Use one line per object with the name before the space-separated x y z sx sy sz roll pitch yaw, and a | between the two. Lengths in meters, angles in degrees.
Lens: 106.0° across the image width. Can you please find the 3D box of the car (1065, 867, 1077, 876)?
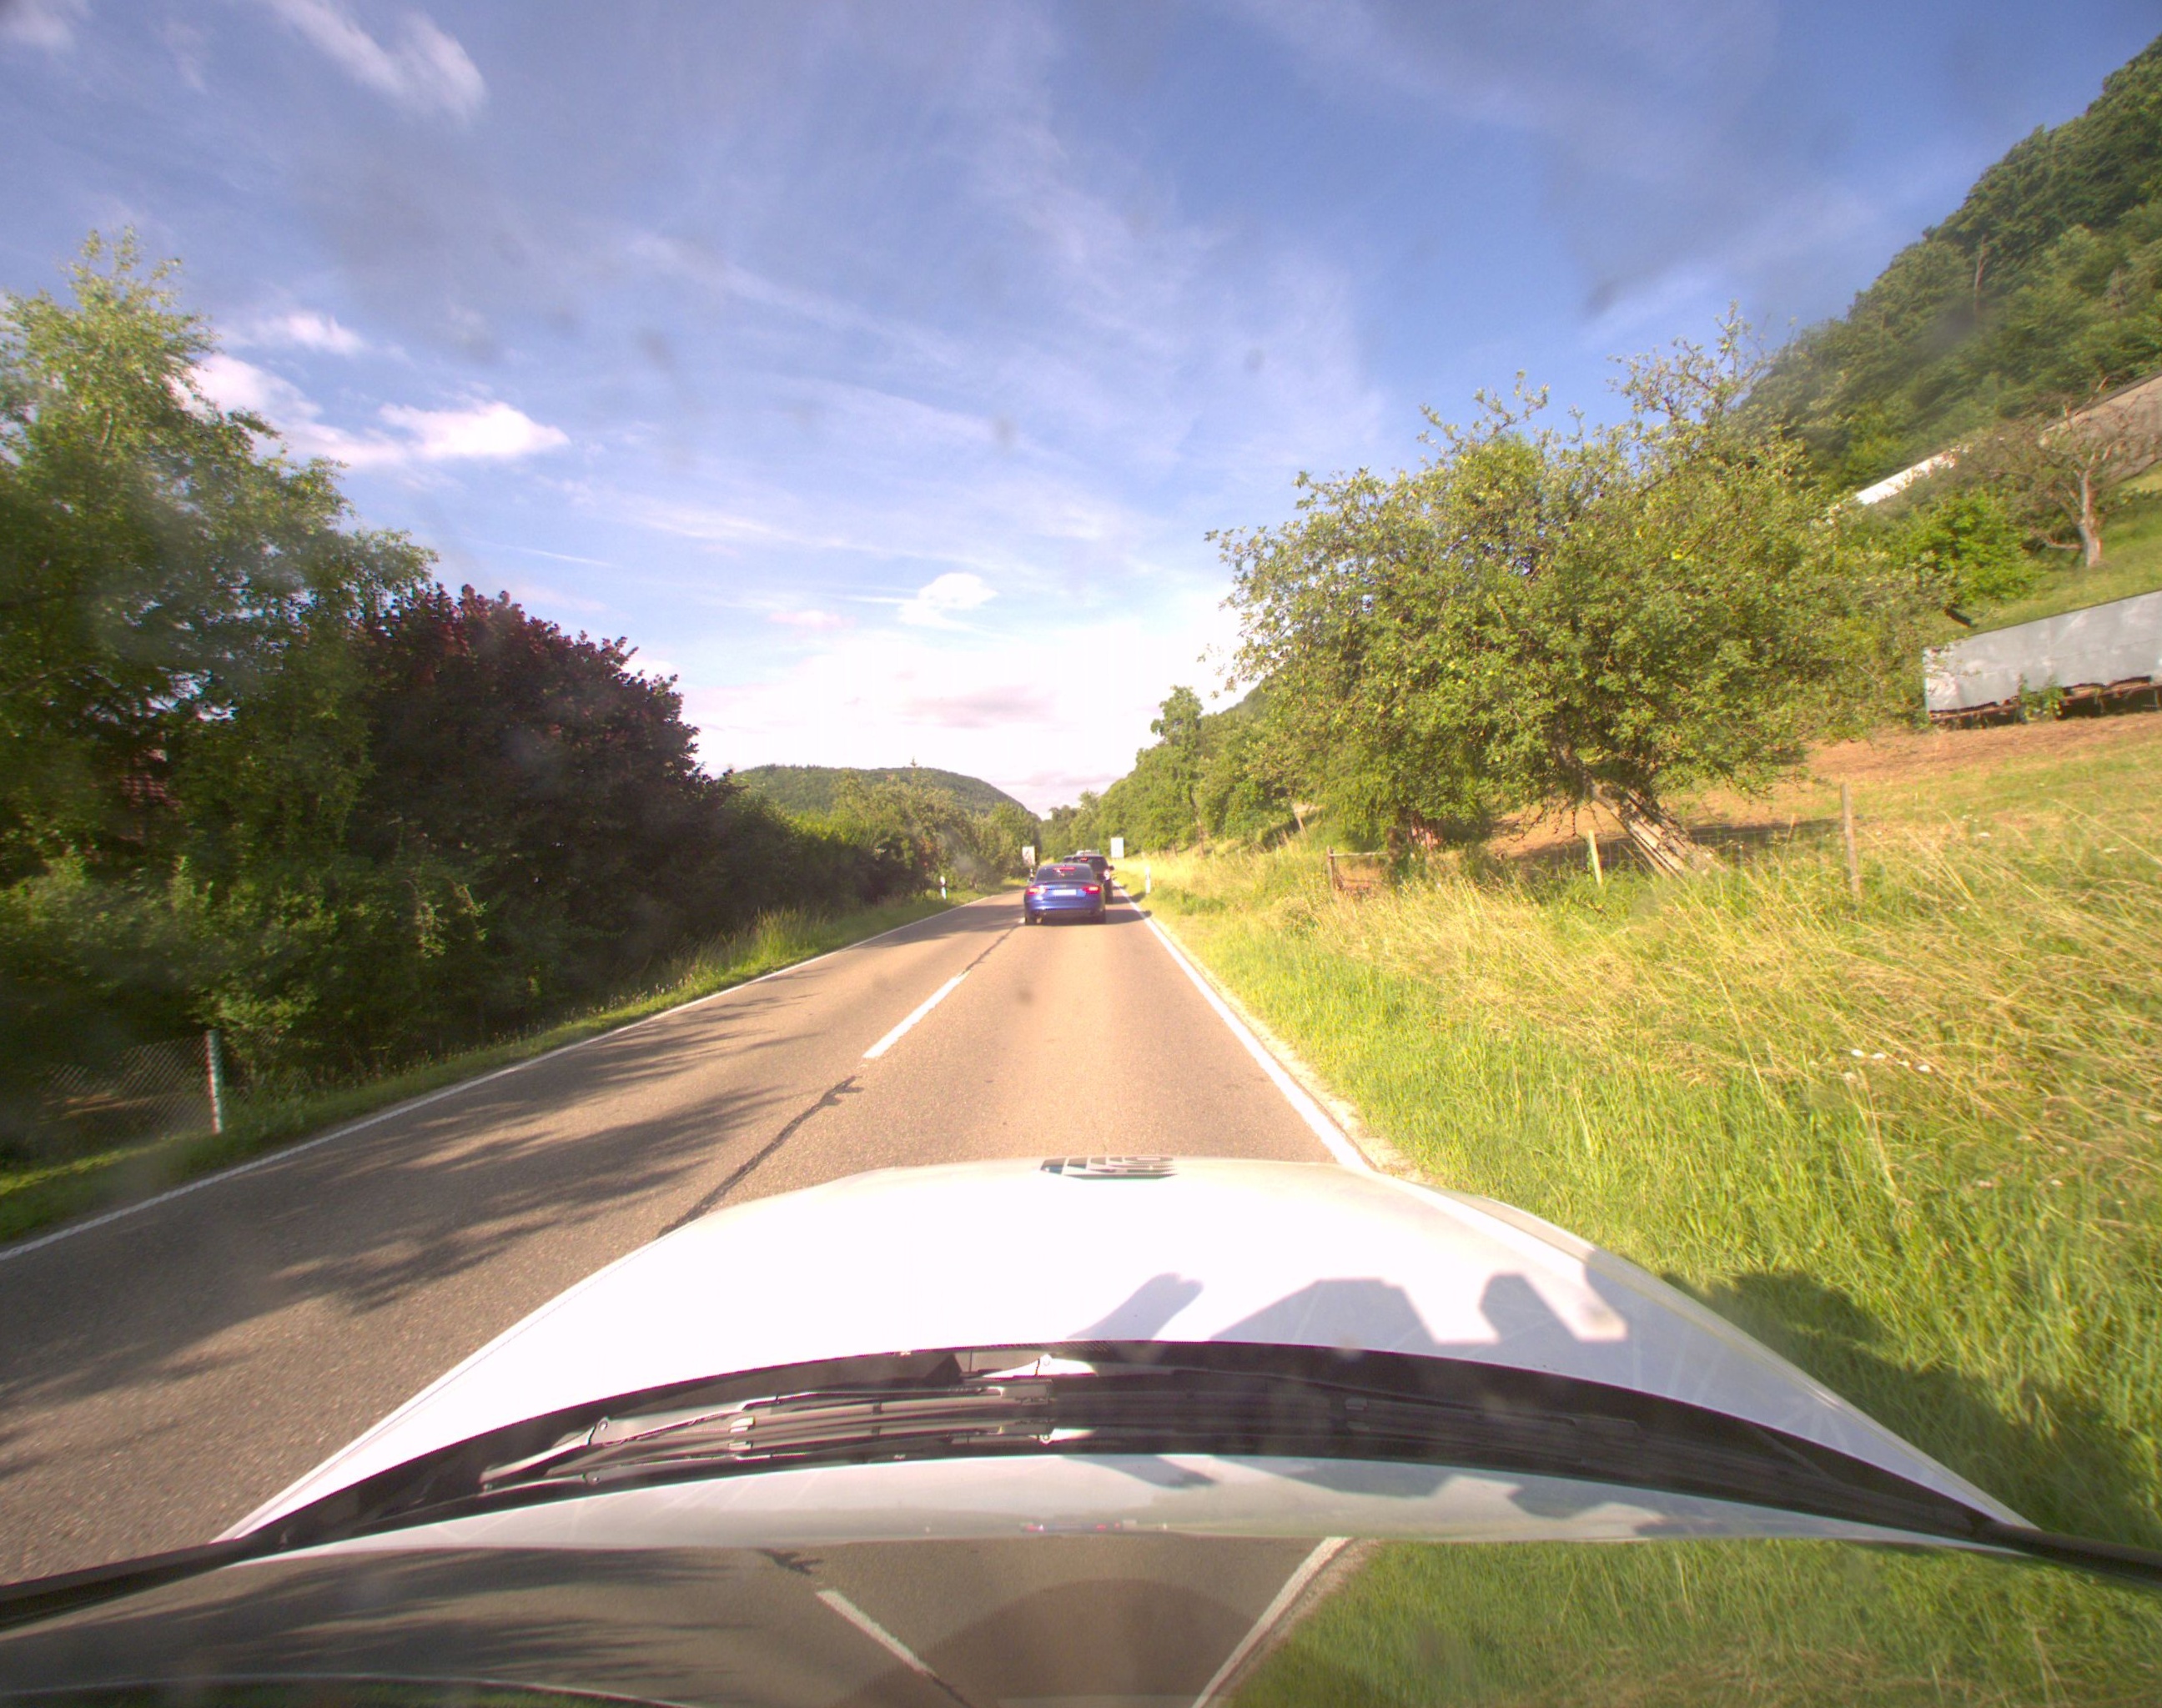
car | -1.736 2.934 139.169 1.558 1.496 3.767 0 0 -8

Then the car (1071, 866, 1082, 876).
car | -0.737 2.718 128.244 1.556 1.496 3.772 0 0 -4

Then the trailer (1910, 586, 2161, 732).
trailer | 23.895 -4.584 19.711 2.147 2.557 5.242 -5 3 -3

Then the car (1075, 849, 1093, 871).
car | 0.300 0.674 90.539 1.788 2.453 3.915 0 -1 -2

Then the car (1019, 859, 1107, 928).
car | -0.342 0.860 19.205 1.799 1.382 4.215 -2 -1 1

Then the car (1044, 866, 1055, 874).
car | -6.379 3.203 163.488 1.560 1.496 3.762 0 0 -12

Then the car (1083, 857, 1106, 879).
car | 1.054 1.045 63.015 1.687 1.624 3.789 -2 0 0

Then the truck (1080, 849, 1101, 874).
truck | 0.894 0.746 80.191 1.944 2.345 5.092 0 0 0

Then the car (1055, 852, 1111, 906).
car | 0.072 0.770 26.835 1.687 1.624 3.789 -2 0 0
